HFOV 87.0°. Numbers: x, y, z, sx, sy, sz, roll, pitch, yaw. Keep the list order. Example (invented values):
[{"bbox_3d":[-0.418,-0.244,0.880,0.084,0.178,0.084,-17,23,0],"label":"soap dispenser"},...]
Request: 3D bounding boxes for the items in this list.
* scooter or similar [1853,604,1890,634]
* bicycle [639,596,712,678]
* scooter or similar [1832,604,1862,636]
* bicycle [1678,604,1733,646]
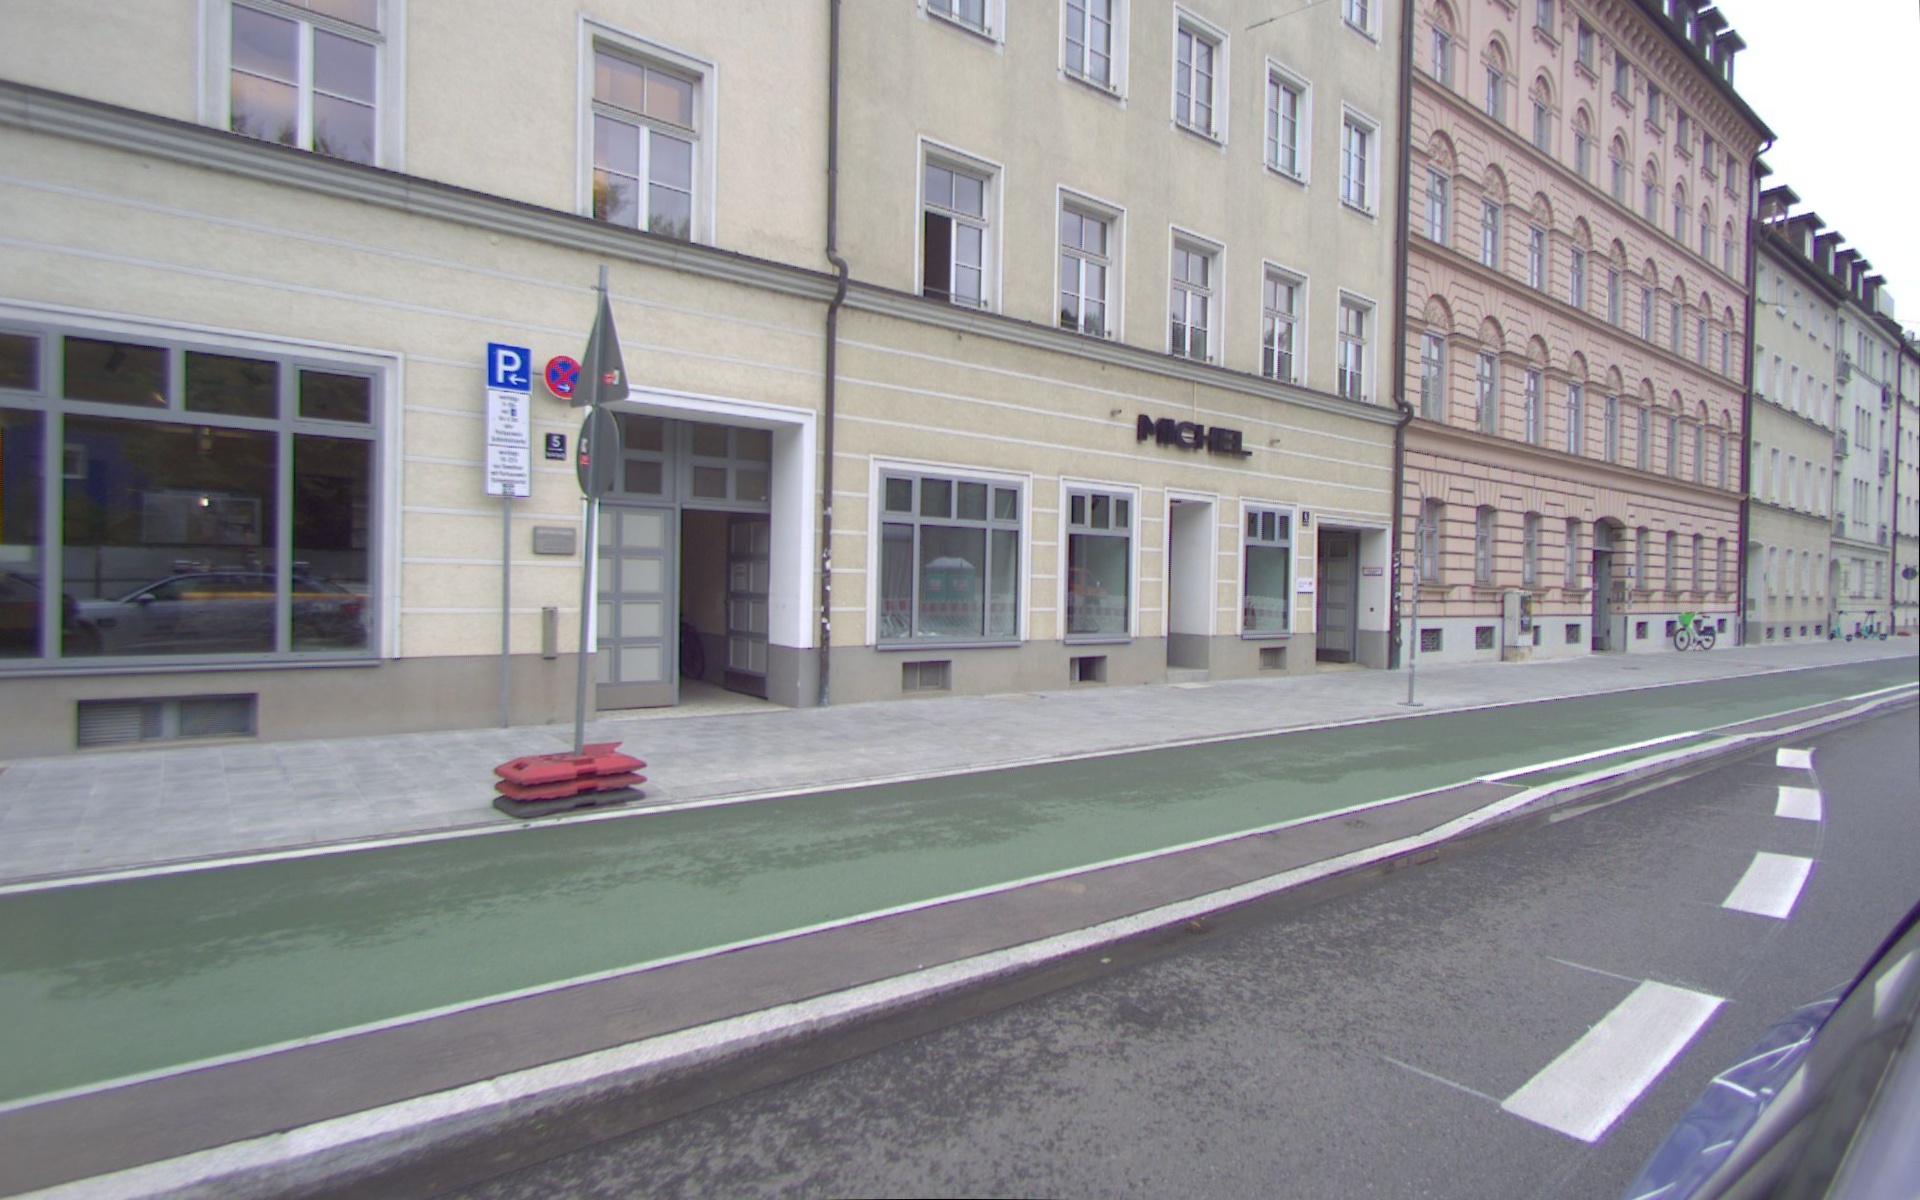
[{"bbox_3d":[39.577,0.827,43.957,1.105,1.246,0.246,3,2,20],"label":"scooter or similar"},{"bbox_3d":[-4.097,0.503,14.511,0.301,1.068,1.624,1,1,-42],"label":"bicycle"},{"bbox_3d":[35.909,0.813,40.971,1.096,1.246,0.248,1,2,-12],"label":"scooter or similar"},{"bbox_3d":[21.811,0.741,29.612,1.695,1.189,0.428,1,1,-21],"label":"bicycle"}]
